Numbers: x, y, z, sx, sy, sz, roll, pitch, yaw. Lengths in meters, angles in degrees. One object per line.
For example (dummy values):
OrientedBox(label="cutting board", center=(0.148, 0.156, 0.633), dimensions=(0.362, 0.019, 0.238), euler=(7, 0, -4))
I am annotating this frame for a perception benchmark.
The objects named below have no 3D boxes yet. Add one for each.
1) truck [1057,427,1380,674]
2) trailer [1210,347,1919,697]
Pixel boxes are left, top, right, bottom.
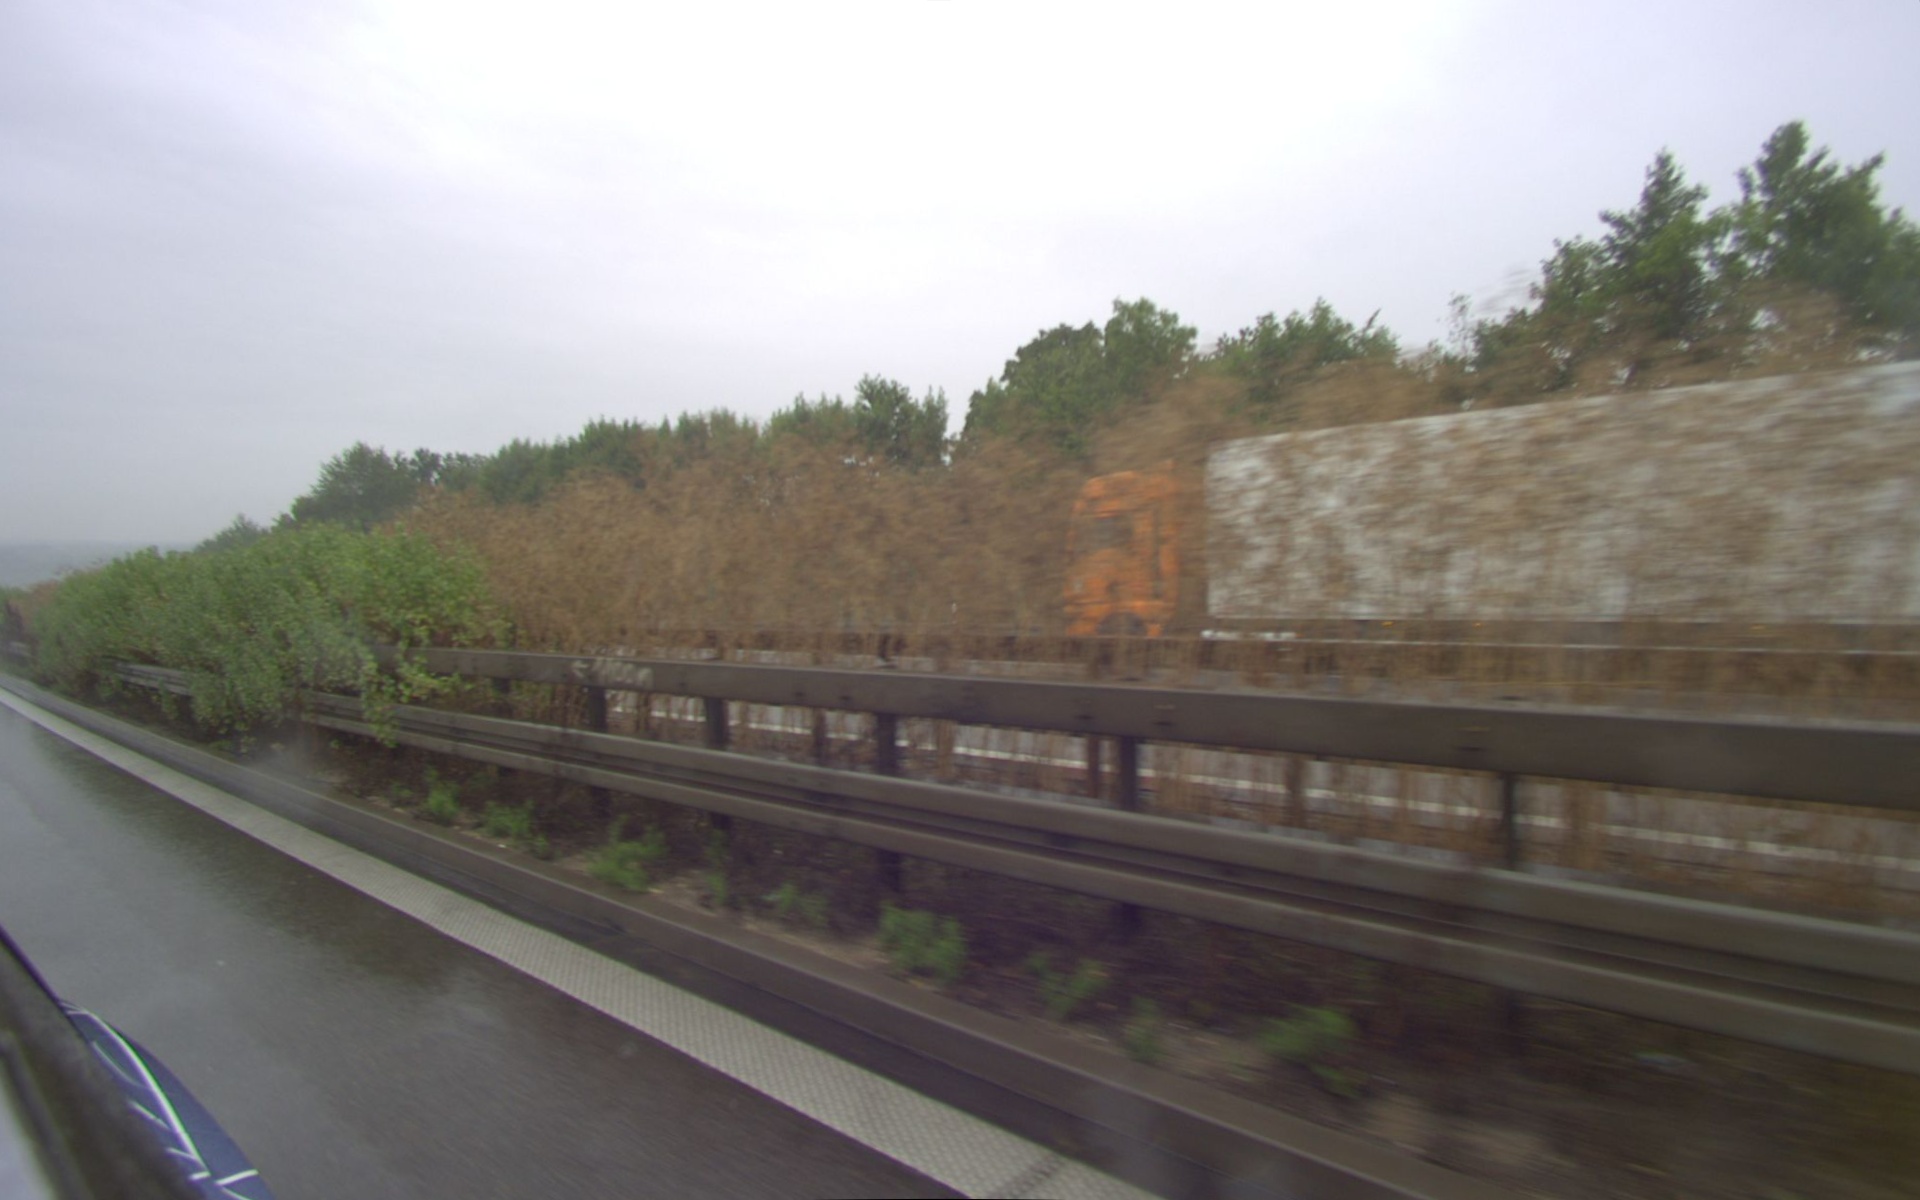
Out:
OrientedBox(label="truck", center=(4.566, -0.756, 18.275), dimensions=(4.889, 3.817, 2.765), euler=(-1, 0, 42))
OrientedBox(label="trailer", center=(10.209, -0.857, 13.178), dimensions=(13.794, 3.817, 2.765), euler=(-1, 0, 42))
